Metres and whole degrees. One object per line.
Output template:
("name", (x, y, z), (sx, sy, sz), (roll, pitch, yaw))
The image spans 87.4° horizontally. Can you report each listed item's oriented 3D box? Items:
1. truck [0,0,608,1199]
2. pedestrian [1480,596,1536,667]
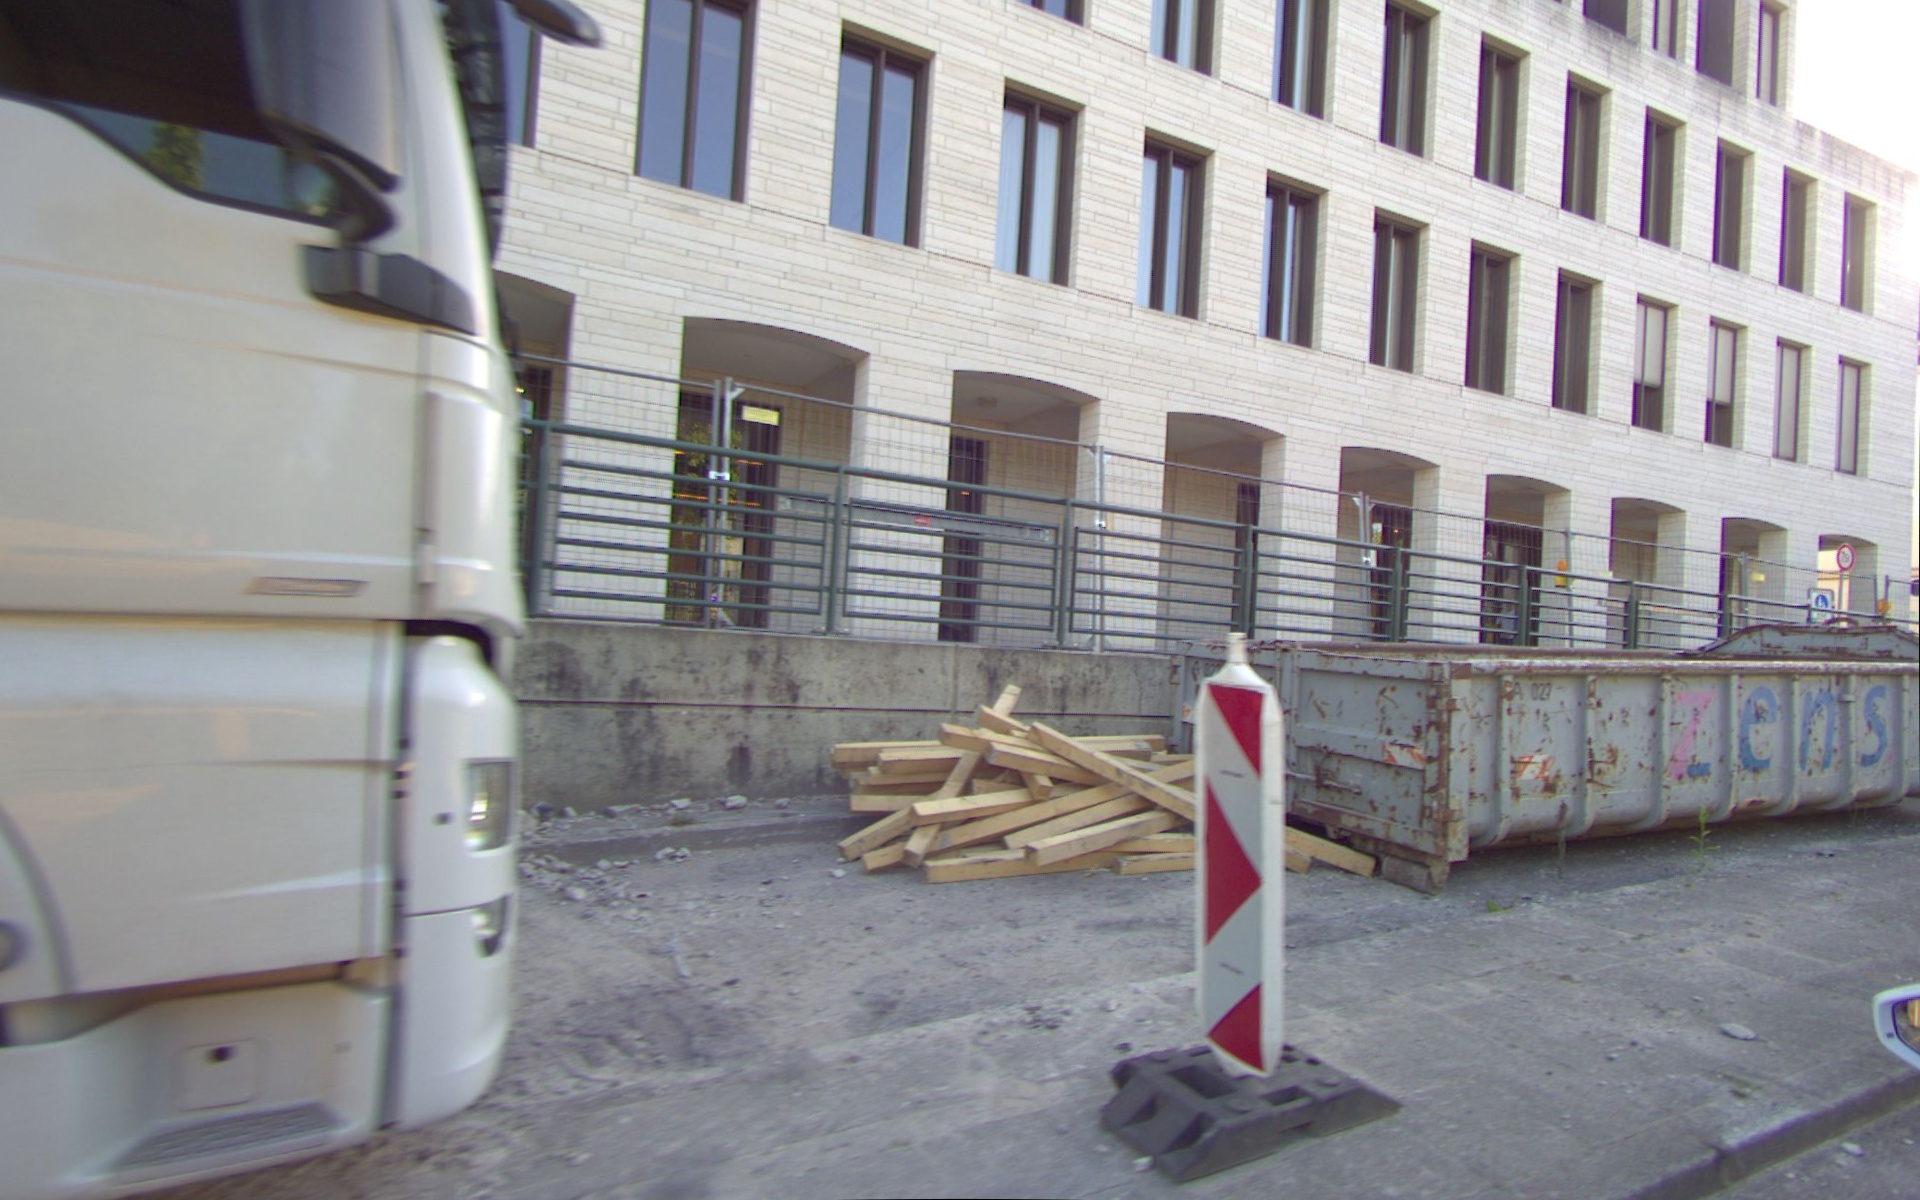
("truck", (-3.888, -0.418, 2.024), (5.740, 3.534, 2.571), (1, -4, -27))
("pedestrian", (11.884, 0.686, 21.783), (0.787, 1.507, 0.669), (0, -3, -24))
